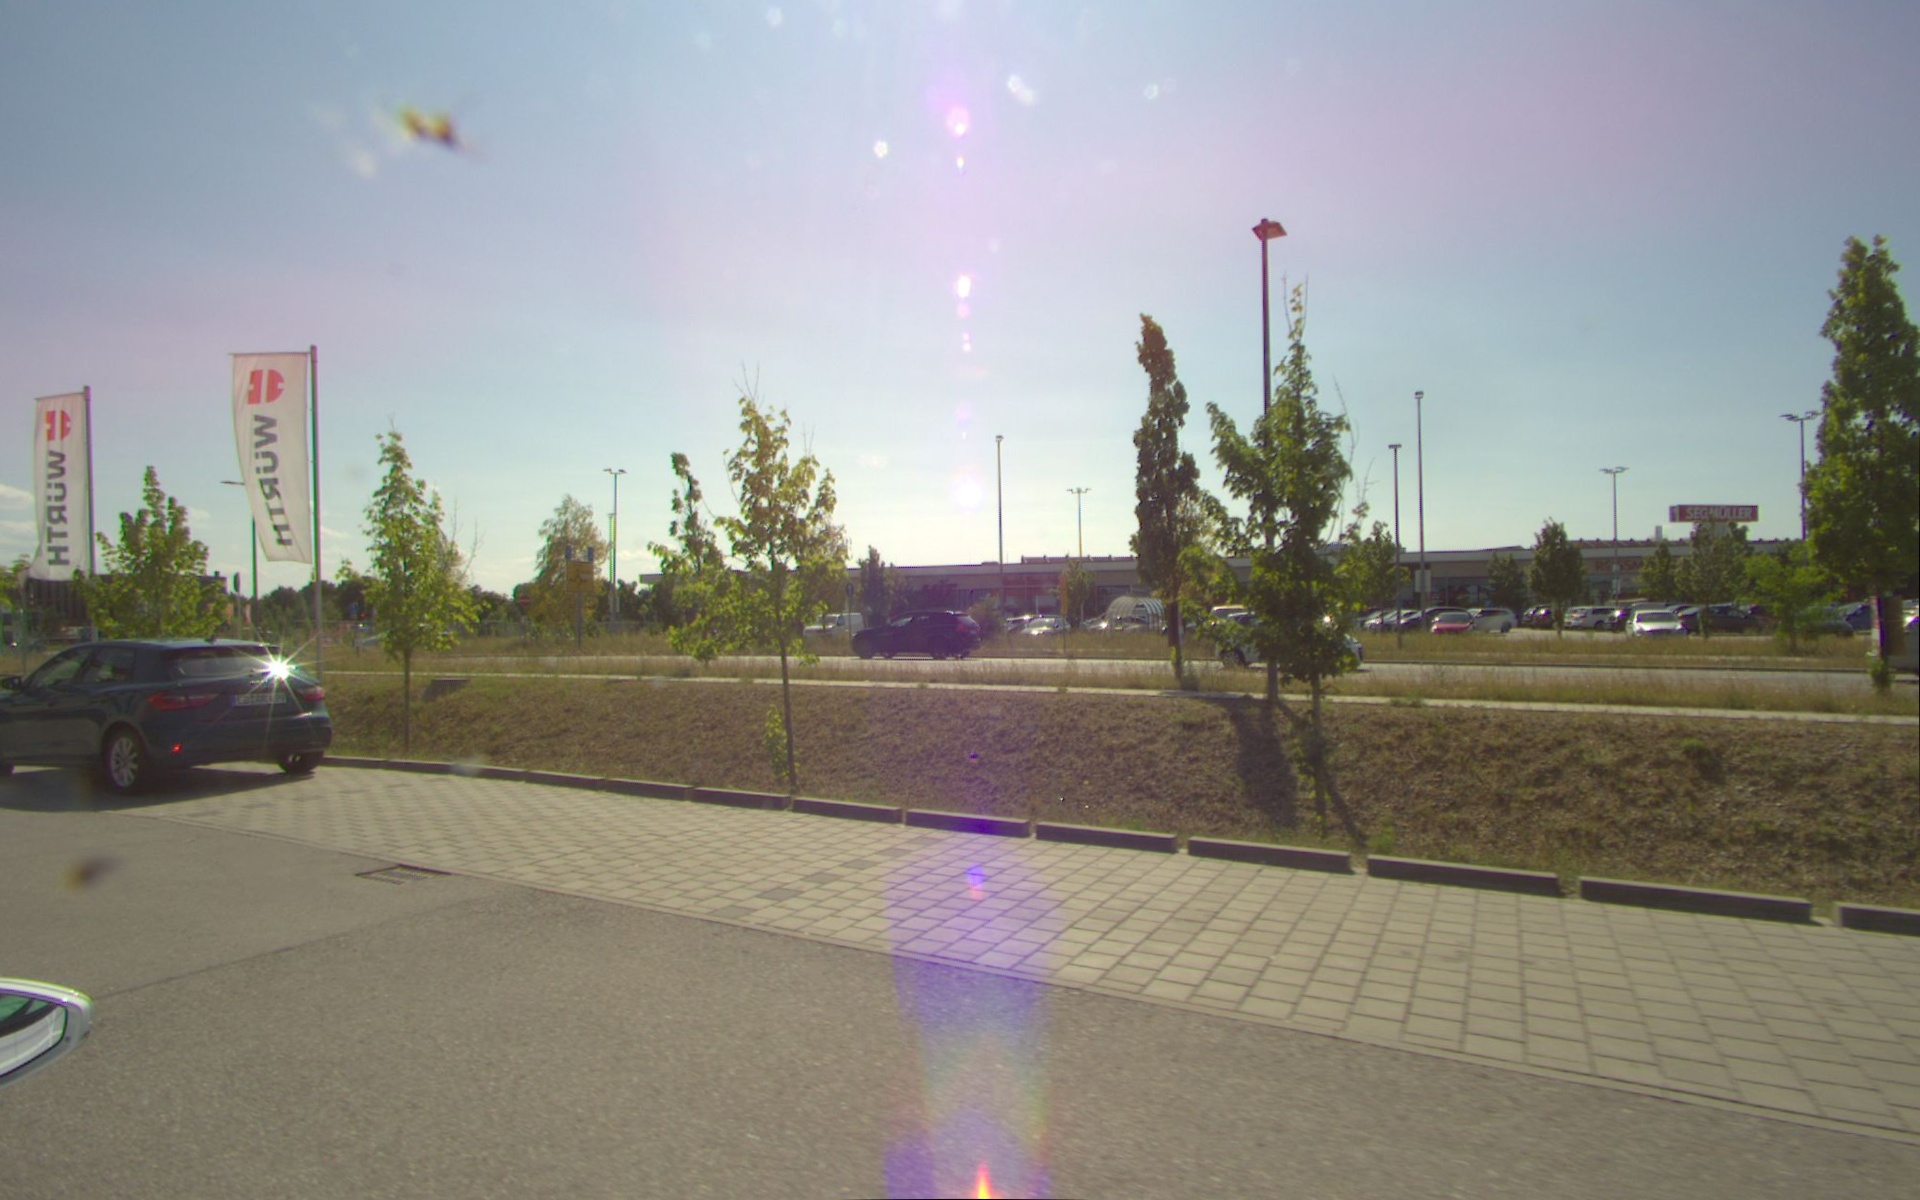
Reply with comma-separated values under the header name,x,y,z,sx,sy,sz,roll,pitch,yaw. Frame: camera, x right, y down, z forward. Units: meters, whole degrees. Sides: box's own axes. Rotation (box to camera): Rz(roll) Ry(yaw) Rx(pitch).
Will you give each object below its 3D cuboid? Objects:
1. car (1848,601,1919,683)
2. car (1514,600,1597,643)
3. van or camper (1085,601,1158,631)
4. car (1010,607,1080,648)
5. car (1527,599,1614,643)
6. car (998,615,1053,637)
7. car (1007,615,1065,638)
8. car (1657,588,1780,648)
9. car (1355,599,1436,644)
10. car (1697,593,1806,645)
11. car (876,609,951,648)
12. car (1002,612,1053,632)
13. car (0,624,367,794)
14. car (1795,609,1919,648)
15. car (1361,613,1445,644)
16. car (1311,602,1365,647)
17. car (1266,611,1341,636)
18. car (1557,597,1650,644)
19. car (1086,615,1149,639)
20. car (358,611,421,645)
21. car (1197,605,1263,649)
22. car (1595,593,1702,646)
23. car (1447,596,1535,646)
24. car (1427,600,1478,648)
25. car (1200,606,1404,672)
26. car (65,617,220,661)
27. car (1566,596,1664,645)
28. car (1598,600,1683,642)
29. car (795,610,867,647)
name,x,y,z,sx,sy,sz,roll,pitch,yaw
car,20.298,0.795,19.124,4.694,1.571,1.937,-1,-2,33
car,40.160,1.460,67.617,4.399,2.858,1.999,-1,-1,11
van or camper,11.343,1.140,70.215,4.957,2.040,1.998,-1,0,13
car,4.604,1.456,53.322,2.129,2.040,5.101,-1,-1,24
car,39.819,1.394,65.424,4.399,2.858,1.999,-1,-1,11
car,4.461,1.752,68.037,3.660,1.408,1.732,-1,-1,8
car,4.956,1.703,65.253,3.660,1.408,1.732,-1,-1,8
car,37.325,0.908,49.359,4.397,2.858,2.000,0,-1,5
car,28.180,1.429,64.938,4.397,2.858,2.000,0,-1,5
car,44.346,1.088,56.176,4.397,2.858,2.000,0,-1,5
car,-2.534,1.576,56.236,2.129,2.040,5.101,-1,-1,24
car,4.978,1.636,73.983,3.660,1.408,1.732,-1,-1,8
car,-8.437,0.994,10.431,4.157,1.468,1.841,-1,-1,24
car,43.378,1.375,48.324,4.233,1.807,2.000,-1,-1,11
car,27.453,1.784,62.203,4.399,1.887,2.000,-1,-1,11
car,17.901,1.145,47.267,1.913,2.040,4.394,-1,-1,27
car,21.603,1.497,63.092,4.269,1.539,1.655,-1,-1,13
car,40.192,1.306,62.648,4.399,2.858,1.999,-1,-1,11
car,10.204,1.749,64.909,3.925,1.527,1.874,-1,-1,12
car,-27.485,1.355,48.365,1.966,1.536,4.187,0,-2,-20
car,13.403,1.298,49.429,2.131,2.040,5.097,-1,-1,27
car,37.661,1.077,54.872,4.397,2.858,2.000,0,-1,5
car,31.348,1.236,59.132,4.403,2.858,1.998,0,-1,-14
car,22.115,1.059,44.902,1.854,2.040,4.121,-1,-1,29
car,8.747,0.987,25.698,4.689,1.571,1.939,-1,-2,29
car,-30.390,1.439,37.279,4.671,1.571,1.946,-1,-1,11
car,39.102,1.225,59.870,4.399,2.858,1.999,-1,-1,11
car,47.419,1.498,69.843,4.399,2.858,1.999,-1,-1,11
car,-7.387,1.647,57.947,2.051,2.040,5.220,-1,-1,18
